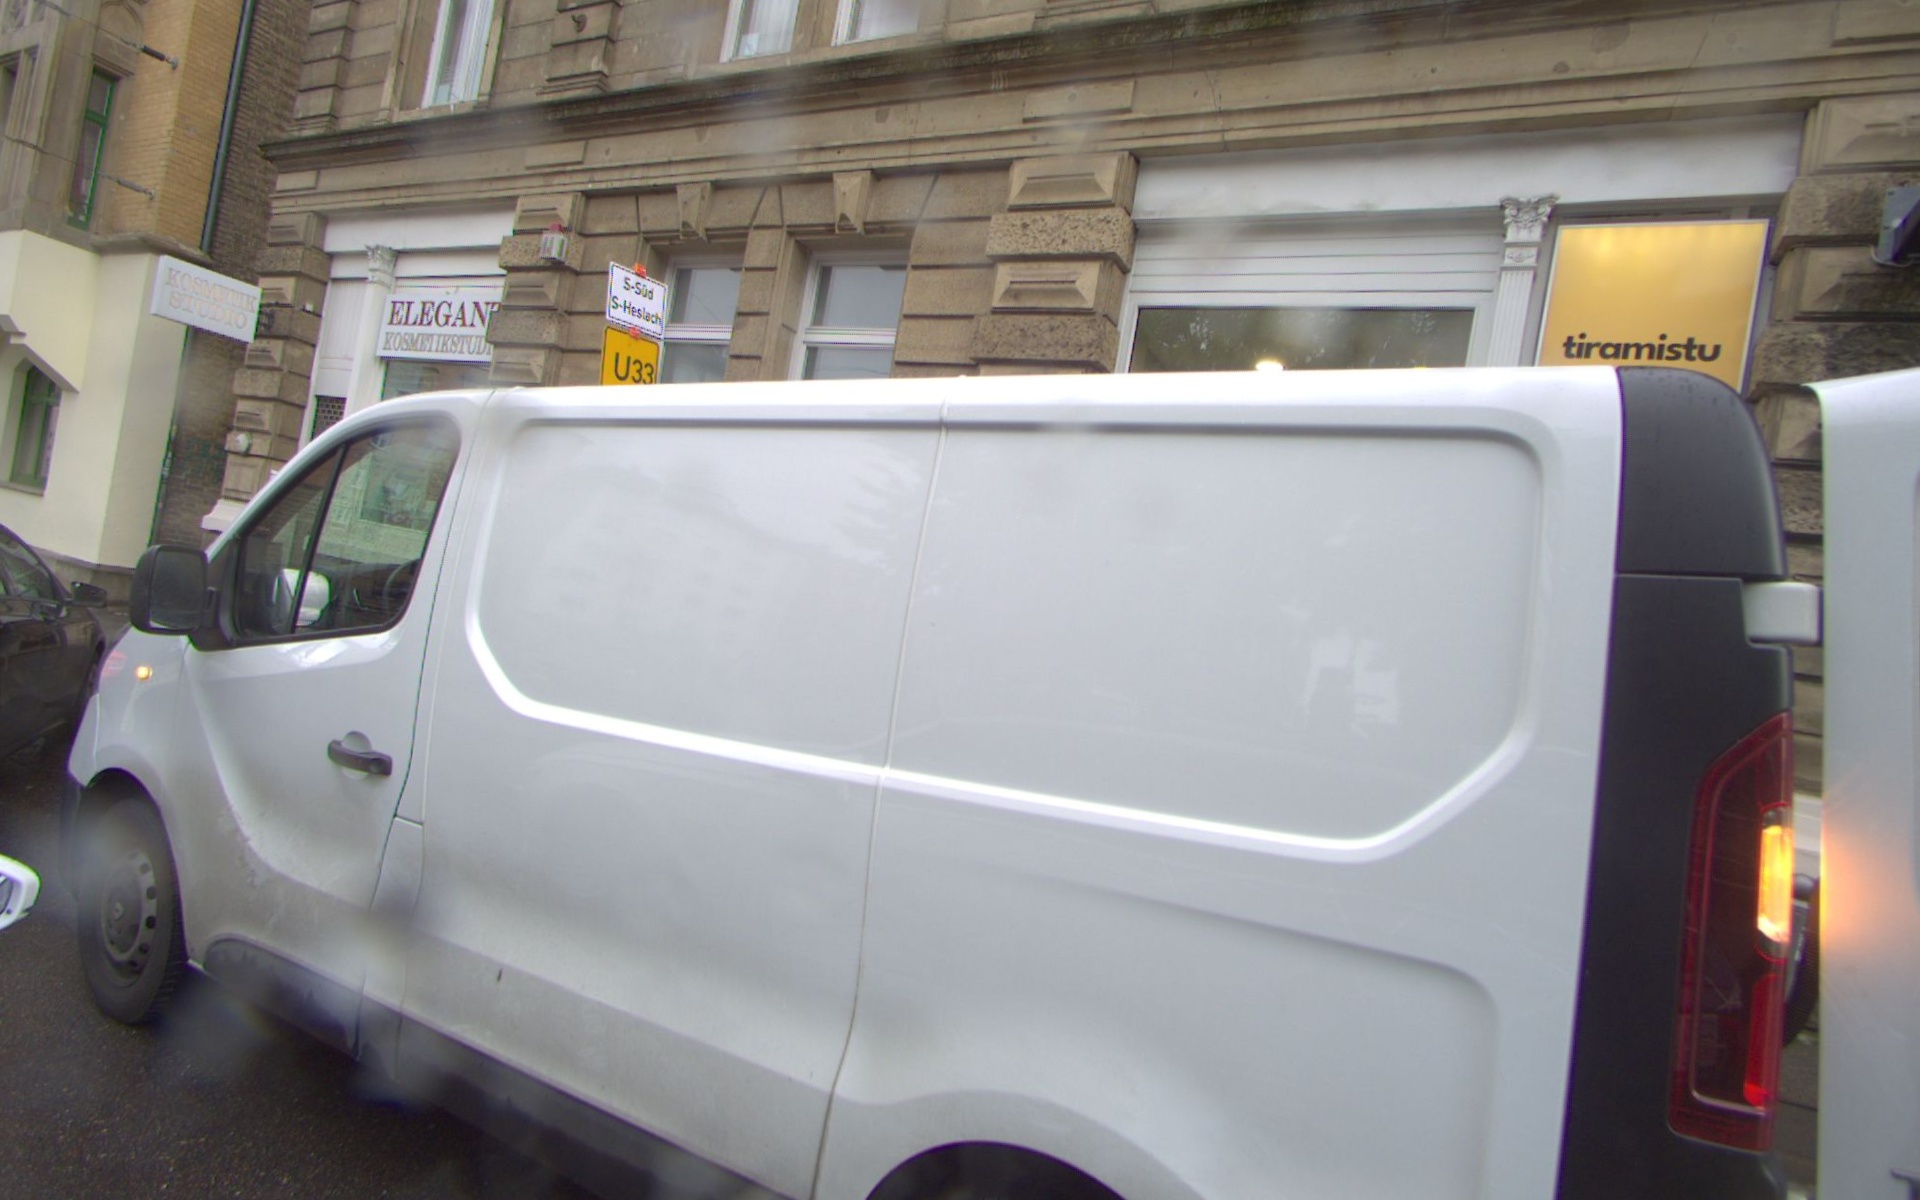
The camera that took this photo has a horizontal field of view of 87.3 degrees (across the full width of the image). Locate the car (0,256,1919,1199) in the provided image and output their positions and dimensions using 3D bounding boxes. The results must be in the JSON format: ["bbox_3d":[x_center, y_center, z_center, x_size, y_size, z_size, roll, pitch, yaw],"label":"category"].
[{"bbox_3d":[-0.542,0.502,2.938,4.606,1.958,1.926,7,-2,30],"label":"car"}]

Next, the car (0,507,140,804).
[{"bbox_3d":[-5.644,0.122,4.903,1.883,1.406,3.968,9,-2,-31],"label":"car"}]
